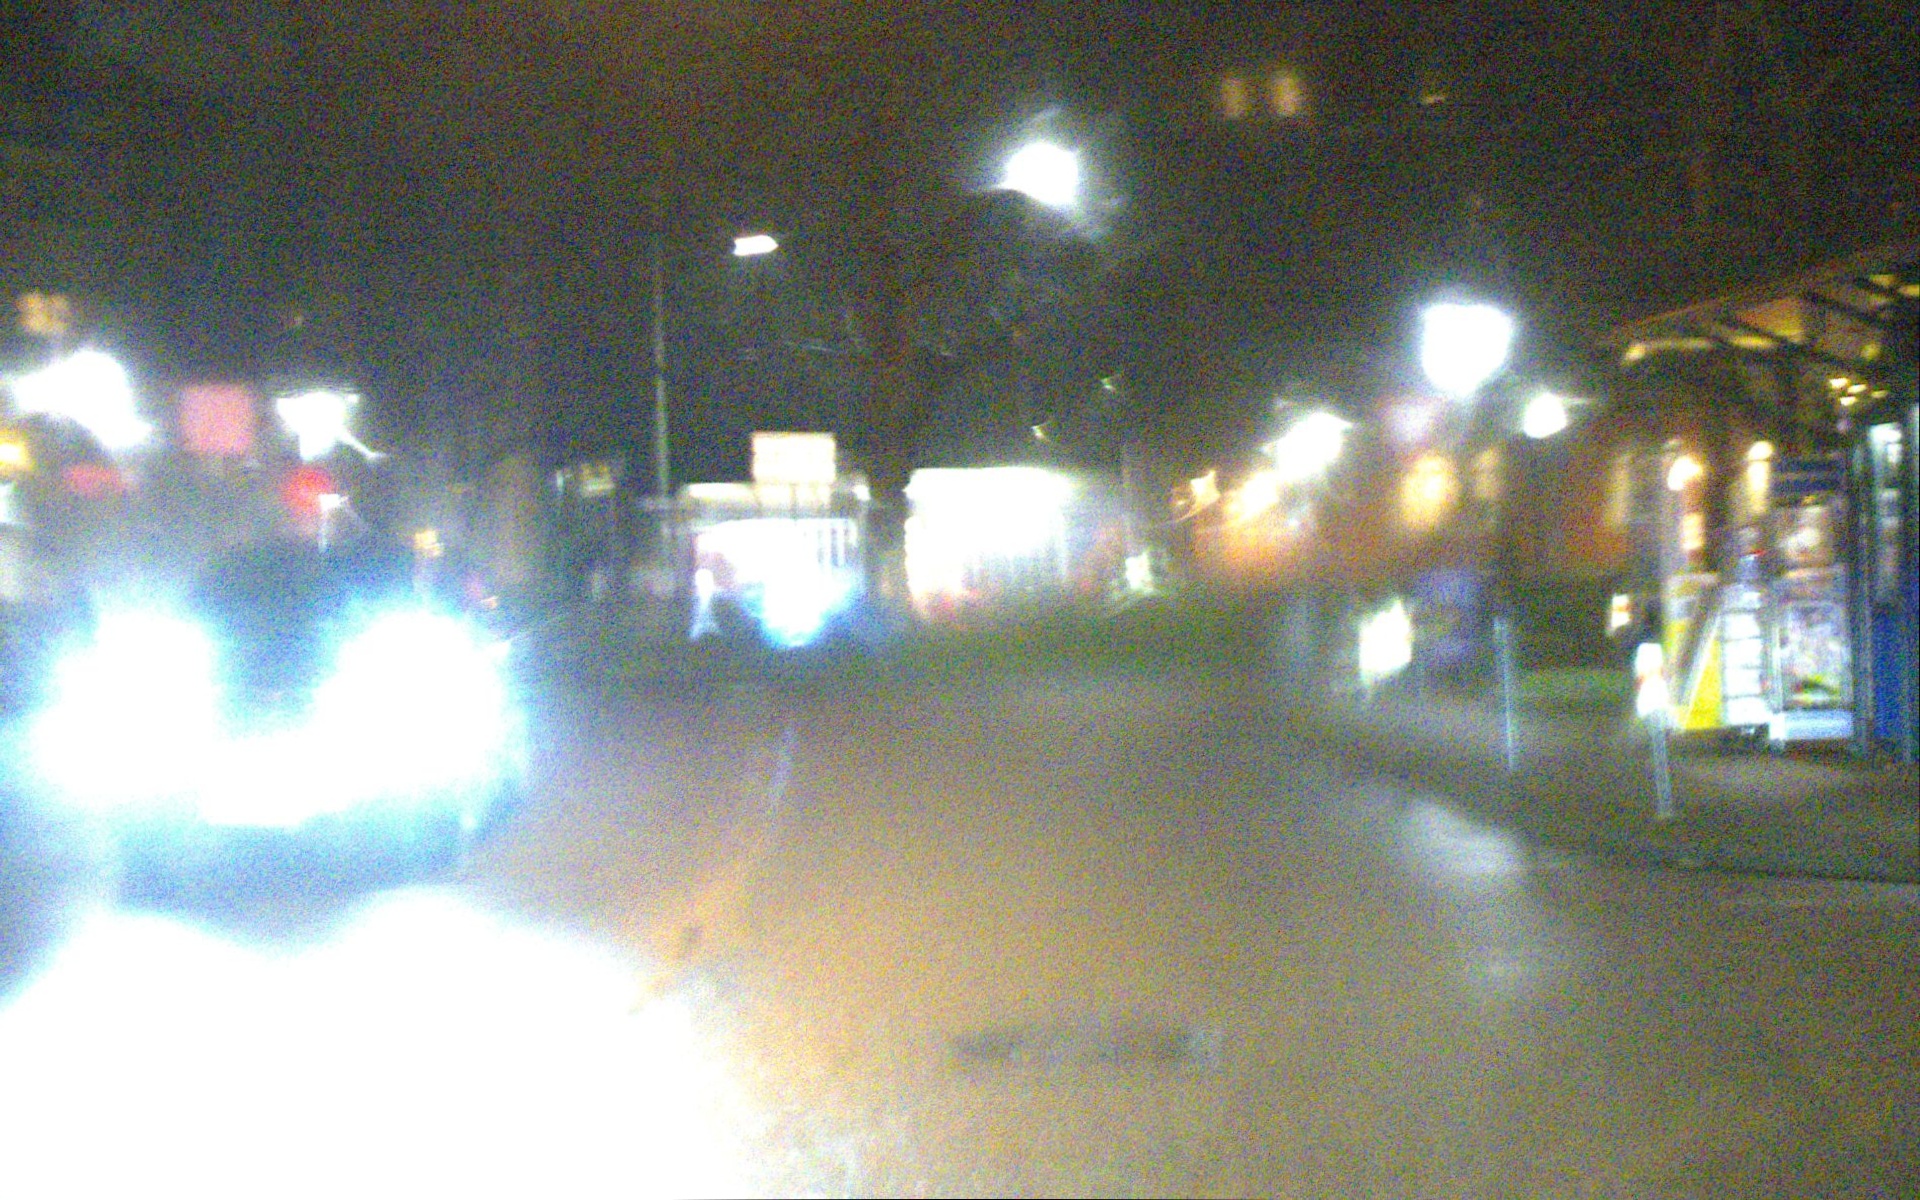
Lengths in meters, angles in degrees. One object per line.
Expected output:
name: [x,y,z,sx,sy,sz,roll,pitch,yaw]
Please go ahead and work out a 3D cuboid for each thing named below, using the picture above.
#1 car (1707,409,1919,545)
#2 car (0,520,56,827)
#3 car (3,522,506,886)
car: [11.576,-1.558,44.468,3.450,1.608,1.737,1,0,-30]
car: [-6.235,0.431,18.138,1.832,1.711,4.595,-1,1,-2]
car: [-3.601,0.445,18.385,1.920,1.612,4.575,-3,1,-3]
